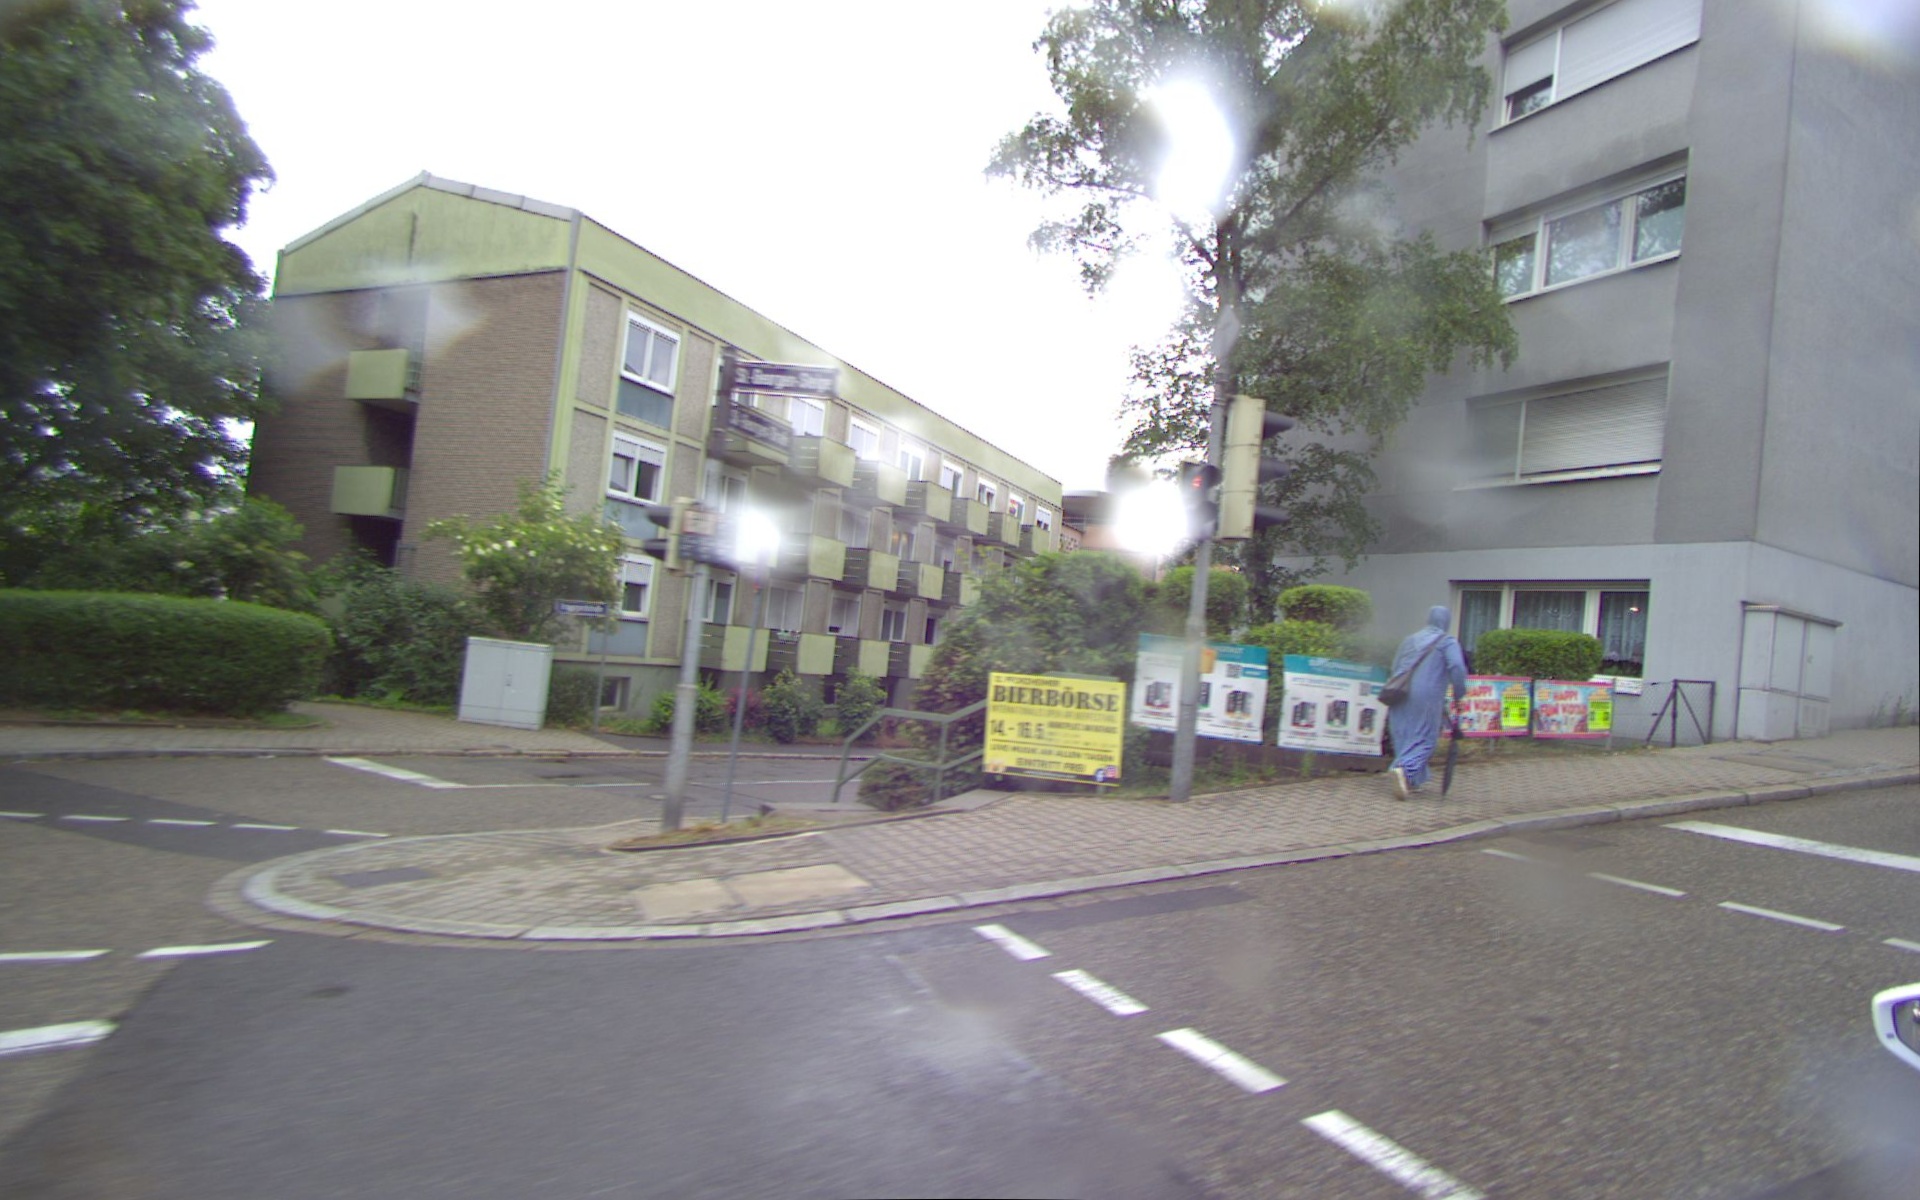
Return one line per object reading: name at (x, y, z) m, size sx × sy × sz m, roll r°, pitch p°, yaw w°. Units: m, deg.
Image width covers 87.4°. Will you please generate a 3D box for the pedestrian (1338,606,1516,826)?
pedestrian at (3.814, 0.883, 8.221) m, size 1.074 × 1.562 × 0.865 m, roll -4°, pitch 5°, yaw -30°
